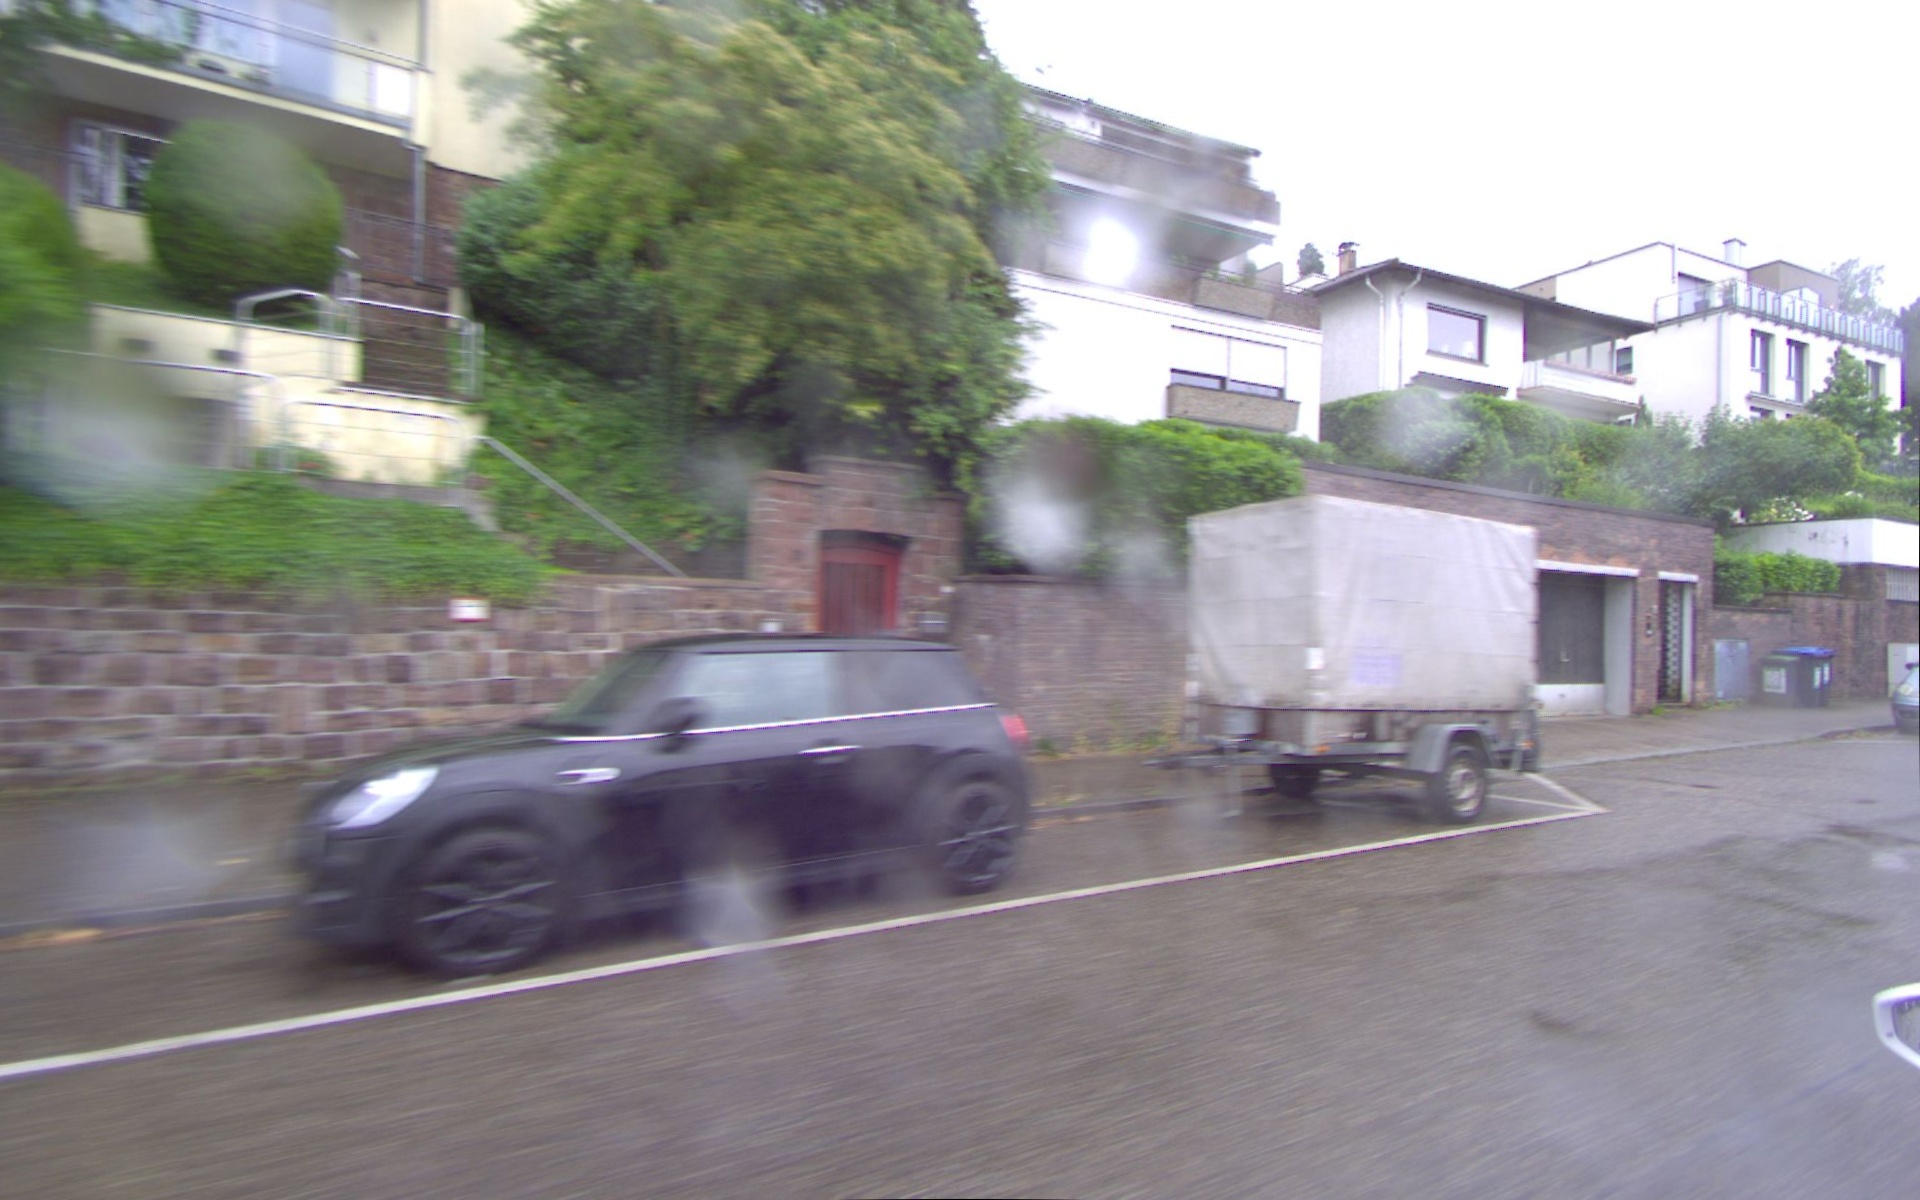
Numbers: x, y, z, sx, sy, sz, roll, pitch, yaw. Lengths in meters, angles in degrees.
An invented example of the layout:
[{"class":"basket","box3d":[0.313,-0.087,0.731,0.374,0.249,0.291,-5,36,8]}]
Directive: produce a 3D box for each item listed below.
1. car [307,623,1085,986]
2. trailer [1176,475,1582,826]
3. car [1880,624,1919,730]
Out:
[{"class":"car","box3d":[-1.329,0.832,5.555,3.733,1.367,1.799,1,-2,-32]},{"class":"trailer","box3d":[3.485,0.413,8.369,3.034,2.431,1.531,1,-3,-28]},{"class":"car","box3d":[15.967,1.144,15.347,3.712,1.559,1.748,1,-4,-30]}]
